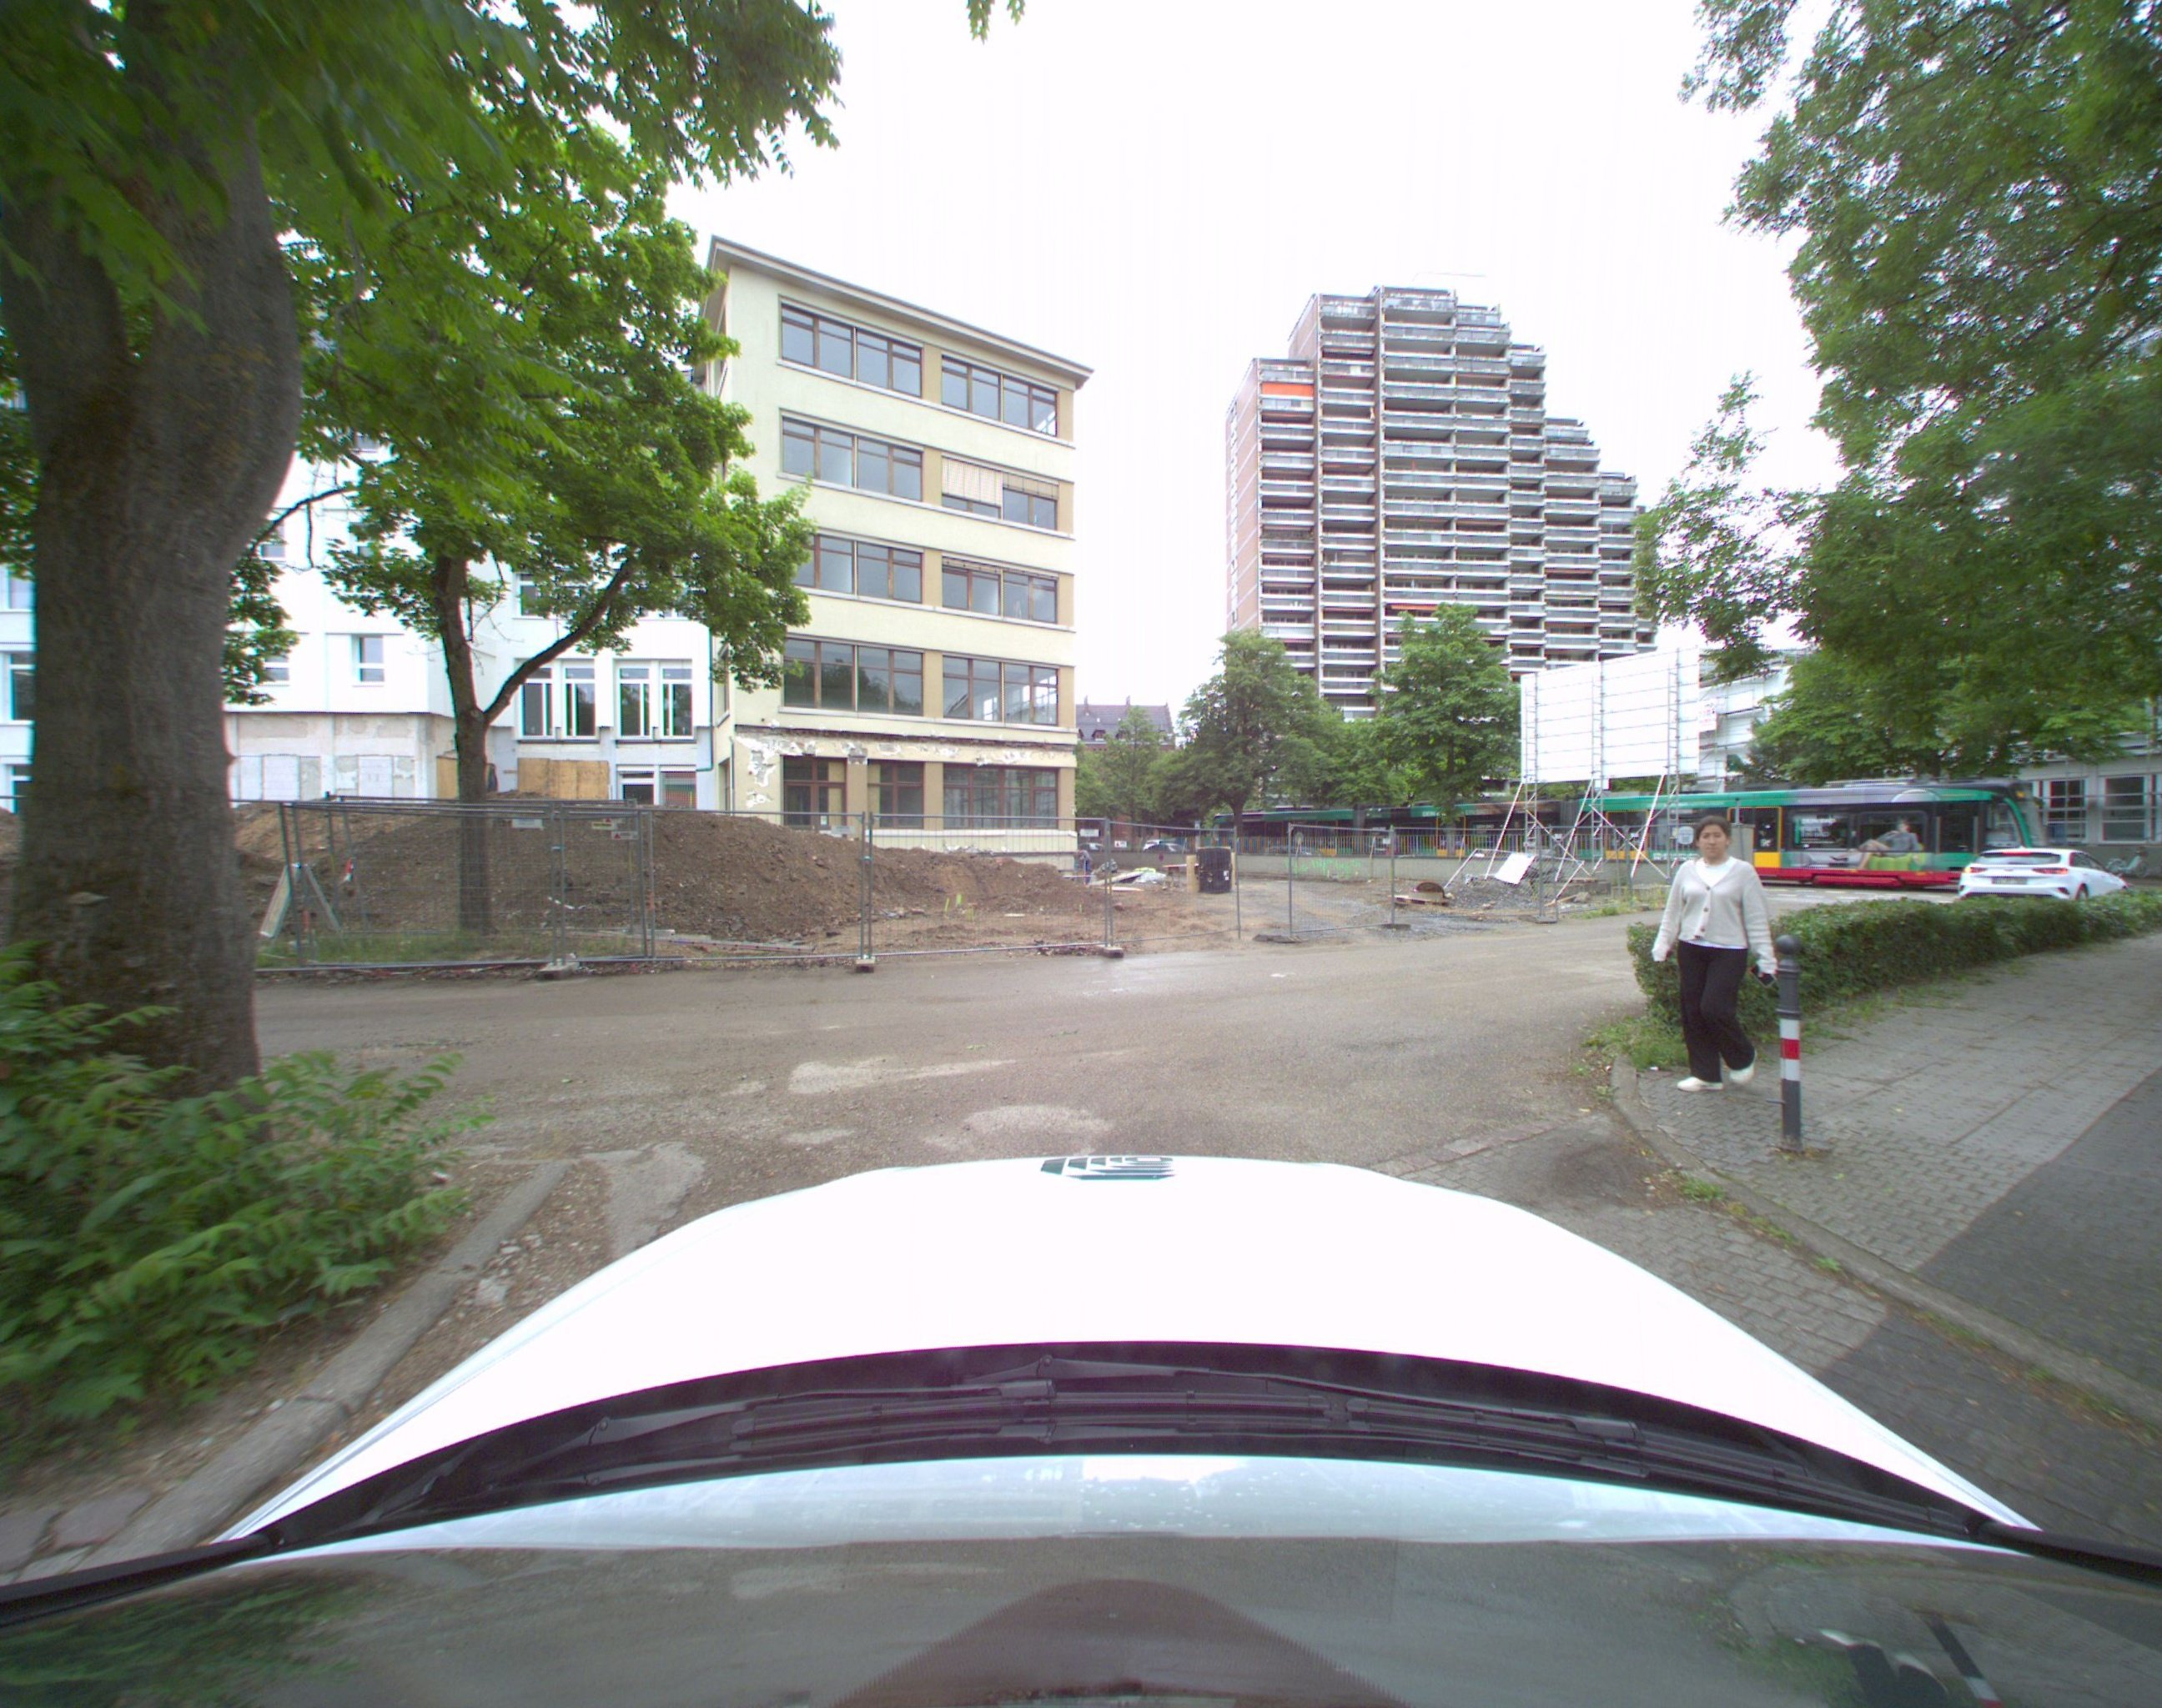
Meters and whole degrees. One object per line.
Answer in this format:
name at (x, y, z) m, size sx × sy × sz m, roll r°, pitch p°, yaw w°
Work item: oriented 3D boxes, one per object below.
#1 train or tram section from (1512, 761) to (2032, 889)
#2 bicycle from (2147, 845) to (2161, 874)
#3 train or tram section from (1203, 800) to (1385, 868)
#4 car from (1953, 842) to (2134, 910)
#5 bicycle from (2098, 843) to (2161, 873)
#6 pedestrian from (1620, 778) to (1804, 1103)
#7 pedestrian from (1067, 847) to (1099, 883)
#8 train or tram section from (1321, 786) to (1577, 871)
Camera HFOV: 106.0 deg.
train or tram section at (23.748, -0.872, 30.094) m, size 2.676 × 3.614 × 14.628 m, roll -1°, pitch 1°, yaw -30°
bicycle at (42.175, 0.162, 31.171) m, size 2.303 × 1.074 × 0.644 m, roll -3°, pitch 1°, yaw -9°
train or tram section at (12.372, -1.114, 49.268) m, size 2.676 × 3.614 × 12.337 m, roll -1°, pitch 1°, yaw -30°
car at (22.137, 0.521, 18.726) m, size 3.985 × 1.433 × 1.766 m, roll 2°, pitch -1°, yaw -26°
bicycle at (41.878, 0.158, 32.448) m, size 2.303 × 1.074 × 0.644 m, roll -3°, pitch 1°, yaw -9°
pedestrian at (3.803, 0.484, 4.959) m, size 0.741 × 1.781 × 0.667 m, roll -4°, pitch -2°, yaw 36°
pedestrian at (0.077, 0.435, 33.472) m, size 0.987 × 1.437 × 0.921 m, roll 0°, pitch 0°, yaw -35°
train or tram section at (17.567, -1.118, 40.498) m, size 2.676 × 3.614 × 12.337 m, roll -1°, pitch 1°, yaw -30°
